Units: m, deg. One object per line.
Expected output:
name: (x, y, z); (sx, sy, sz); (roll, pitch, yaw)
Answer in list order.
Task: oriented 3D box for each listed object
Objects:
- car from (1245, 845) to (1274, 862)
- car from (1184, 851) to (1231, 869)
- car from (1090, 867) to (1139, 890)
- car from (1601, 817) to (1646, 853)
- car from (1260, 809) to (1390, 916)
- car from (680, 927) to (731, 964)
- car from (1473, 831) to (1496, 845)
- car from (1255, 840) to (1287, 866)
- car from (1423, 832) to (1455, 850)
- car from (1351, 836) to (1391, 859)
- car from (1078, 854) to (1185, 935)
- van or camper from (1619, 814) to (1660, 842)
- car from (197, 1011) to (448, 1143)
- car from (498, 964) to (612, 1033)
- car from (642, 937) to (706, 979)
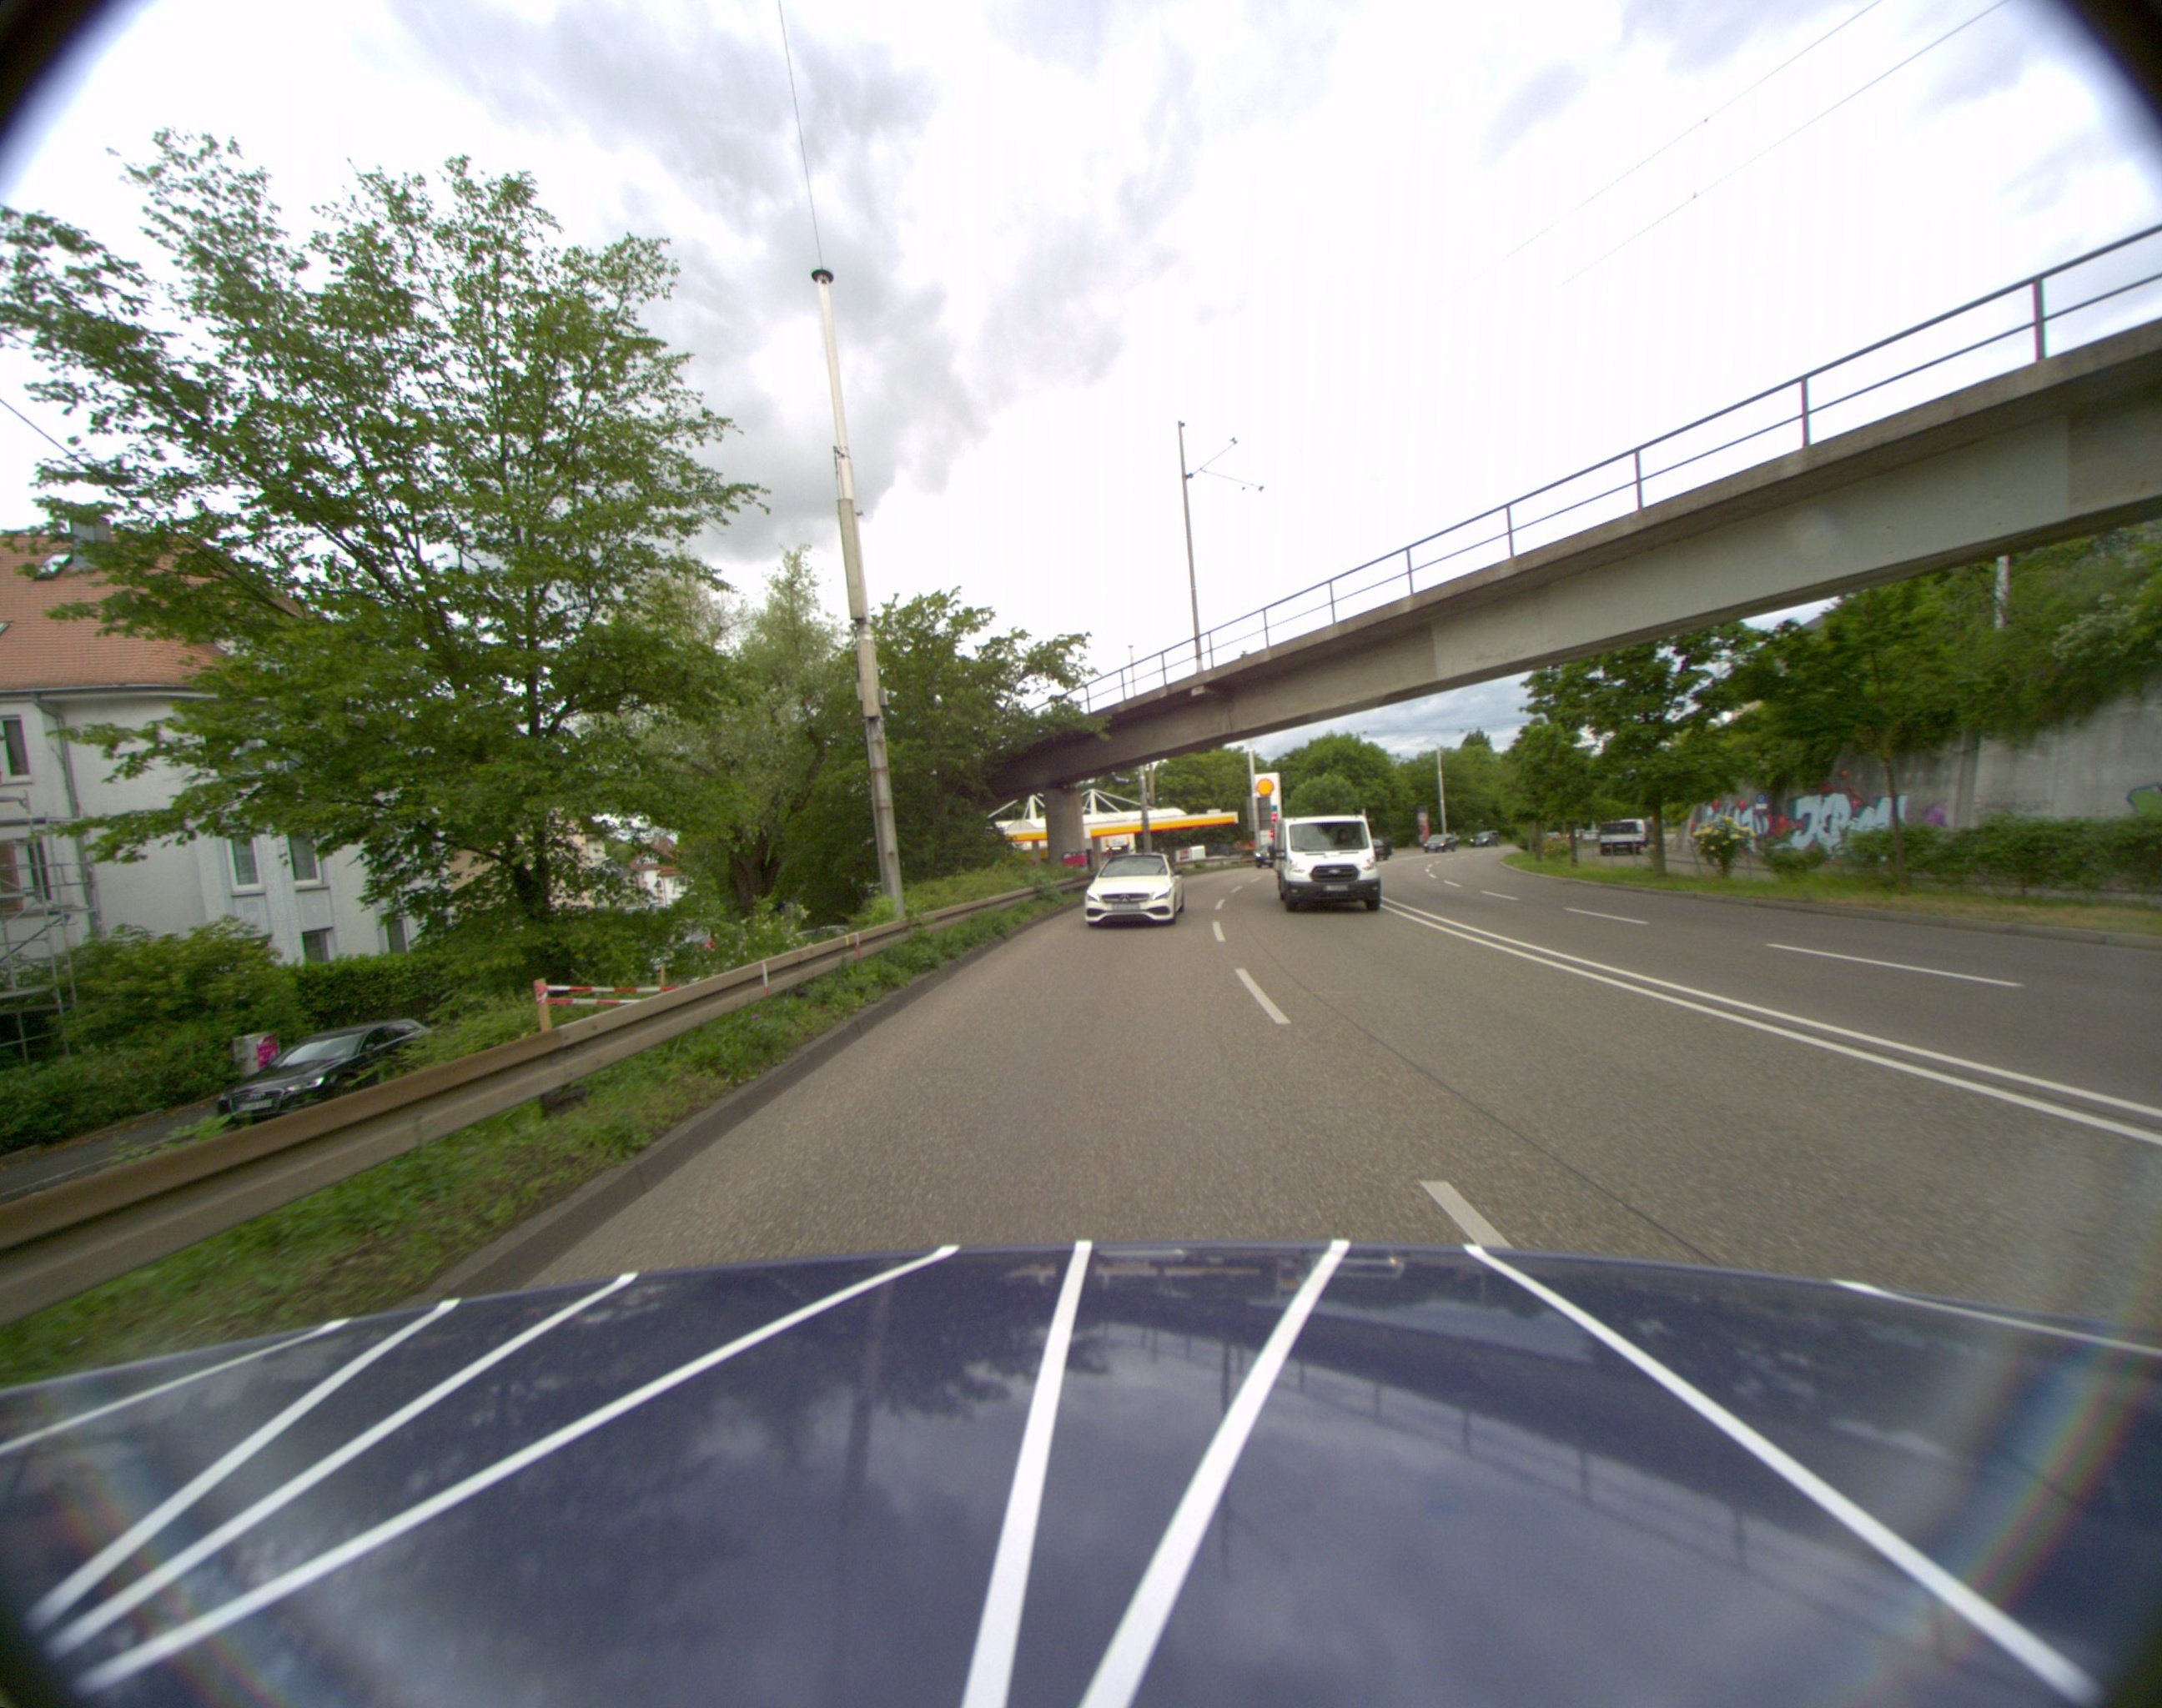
car: (19.154, -0.124, 81.861); (1.734, 1.419, 4.289); (-6, 4, -4)
car: (12.709, 0.547, 76.133); (4.293, 1.424, 1.599); (-4, 4, -10)
car: (2.793, 2.034, 63.262); (3.883, 1.478, 1.736); (-8, 4, -44)
car: (36.452, -1.318, 51.196); (2.269, 2.260, 6.338); (-1, 2, 34)
car: (5.742, 0.154, 18.768); (1.997, 2.161, 6.272); (-2, 0, 8)
car: (-20.897, 5.068, 42.412); (1.625, 1.512, 4.299); (-6, 0, -16)
car: (47.011, -1.915, 88.521); (1.726, 1.469, 4.007); (-3, 0, 37)
car: (11.325, -0.065, 45.130); (1.732, 1.403, 4.004); (-2, 0, 15)
car: (33.035, -1.198, 70.070); (1.726, 1.469, 4.007); (-3, 0, 38)
car: (19.636, -0.460, 51.366); (1.733, 1.403, 4.007); (-3, 0, 31)
car: (1.206, 0.765, 16.309); (1.820, 1.340, 4.001); (-1, 2, 10)
van or camper: (50.710, -2.370, 68.961); (5.720, 2.459, 1.994); (-3, 2, -43)
car: (-15.476, 4.466, 15.858); (1.624, 1.439, 4.054); (-6, 0, -11)
car: (-17.386, 4.714, 25.357); (1.624, 1.439, 4.025); (-6, 0, -13)
car: (-19.580, 4.971, 36.734); (1.651, 1.386, 3.766); (-6, 0, -13)
